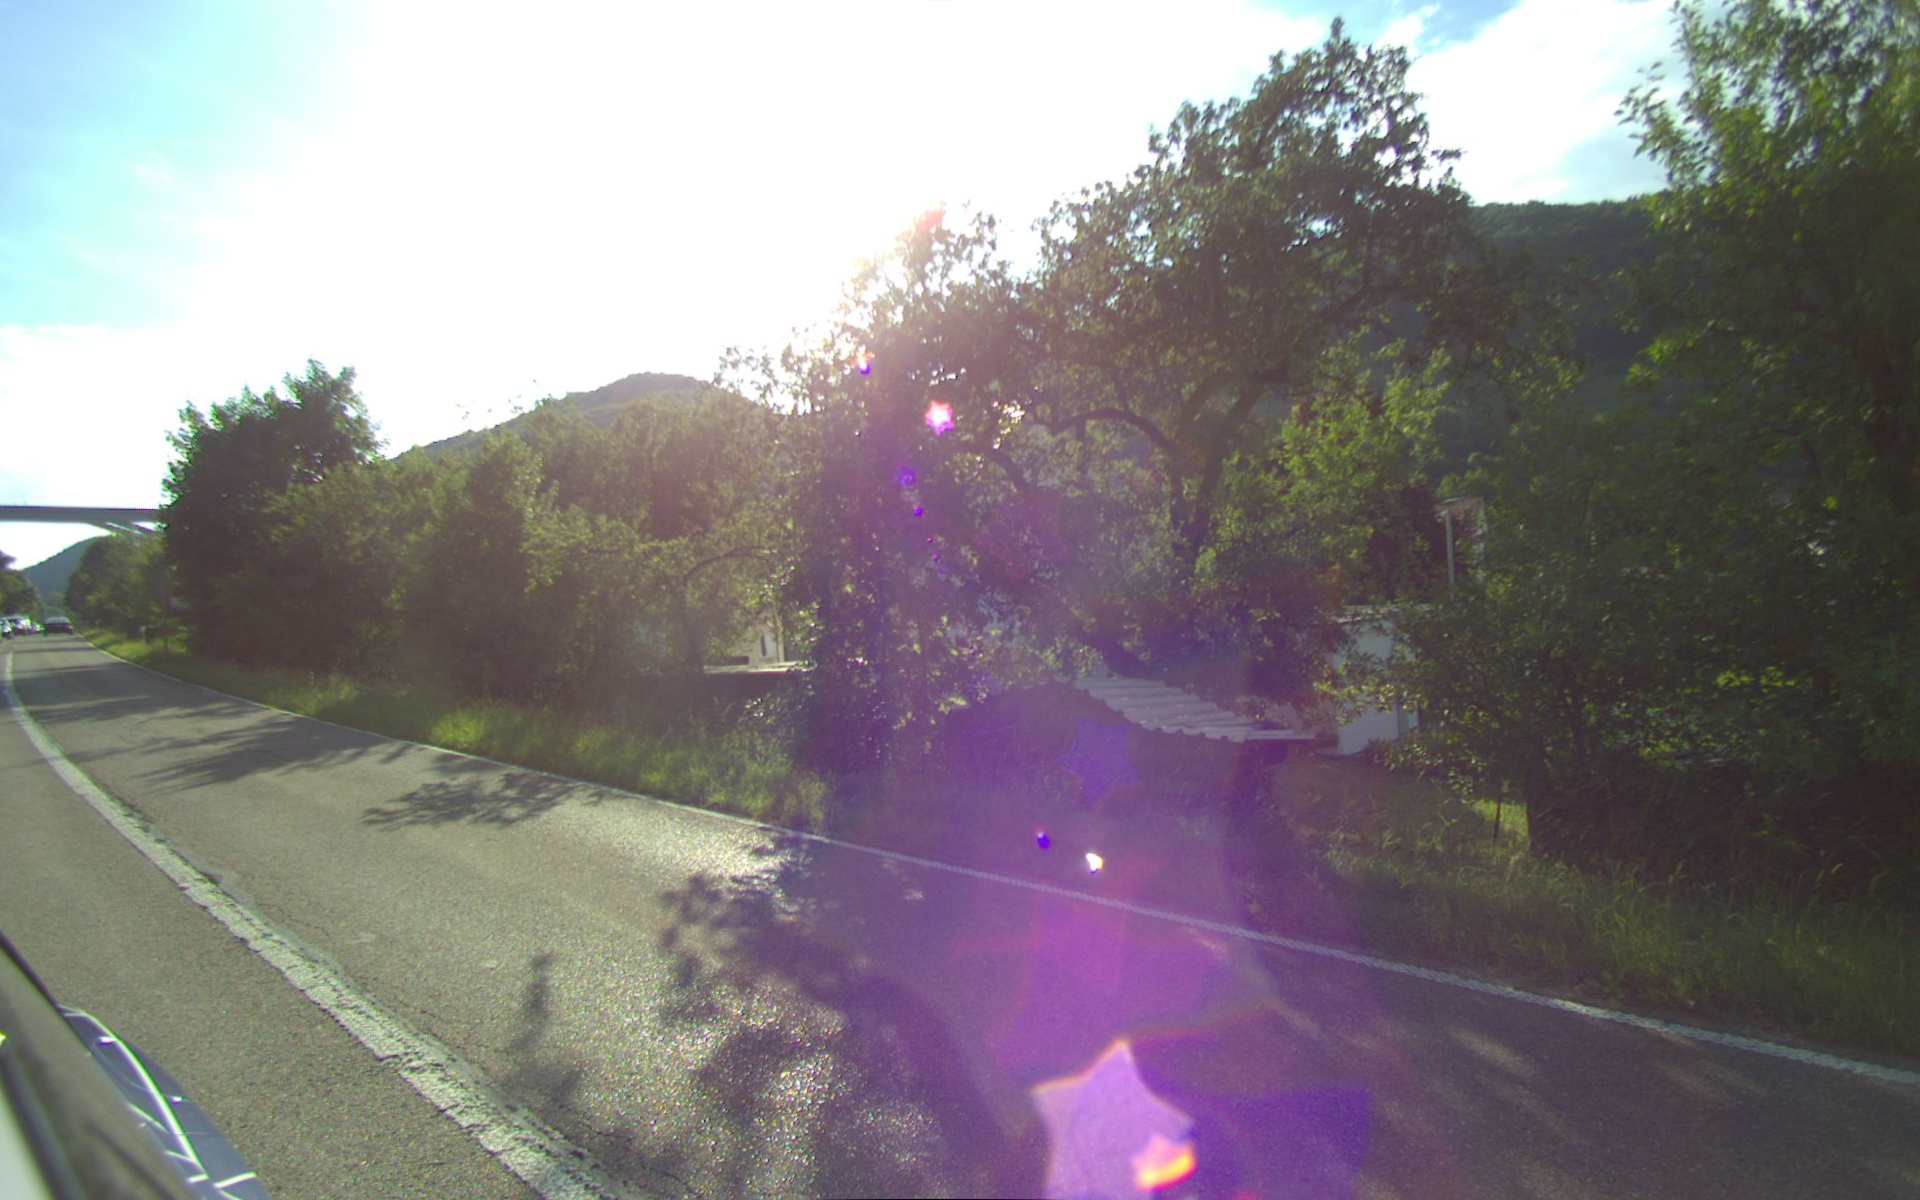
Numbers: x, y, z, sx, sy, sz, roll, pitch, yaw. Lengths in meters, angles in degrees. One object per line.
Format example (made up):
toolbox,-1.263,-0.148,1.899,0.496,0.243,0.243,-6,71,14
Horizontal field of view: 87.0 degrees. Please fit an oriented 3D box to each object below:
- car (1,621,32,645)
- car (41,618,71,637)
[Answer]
car,-83.925,2.937,90.011,1.970,2.029,4.003,-1,0,-44
car,-68.708,2.043,76.898,1.575,1.364,4.206,-1,0,-44
